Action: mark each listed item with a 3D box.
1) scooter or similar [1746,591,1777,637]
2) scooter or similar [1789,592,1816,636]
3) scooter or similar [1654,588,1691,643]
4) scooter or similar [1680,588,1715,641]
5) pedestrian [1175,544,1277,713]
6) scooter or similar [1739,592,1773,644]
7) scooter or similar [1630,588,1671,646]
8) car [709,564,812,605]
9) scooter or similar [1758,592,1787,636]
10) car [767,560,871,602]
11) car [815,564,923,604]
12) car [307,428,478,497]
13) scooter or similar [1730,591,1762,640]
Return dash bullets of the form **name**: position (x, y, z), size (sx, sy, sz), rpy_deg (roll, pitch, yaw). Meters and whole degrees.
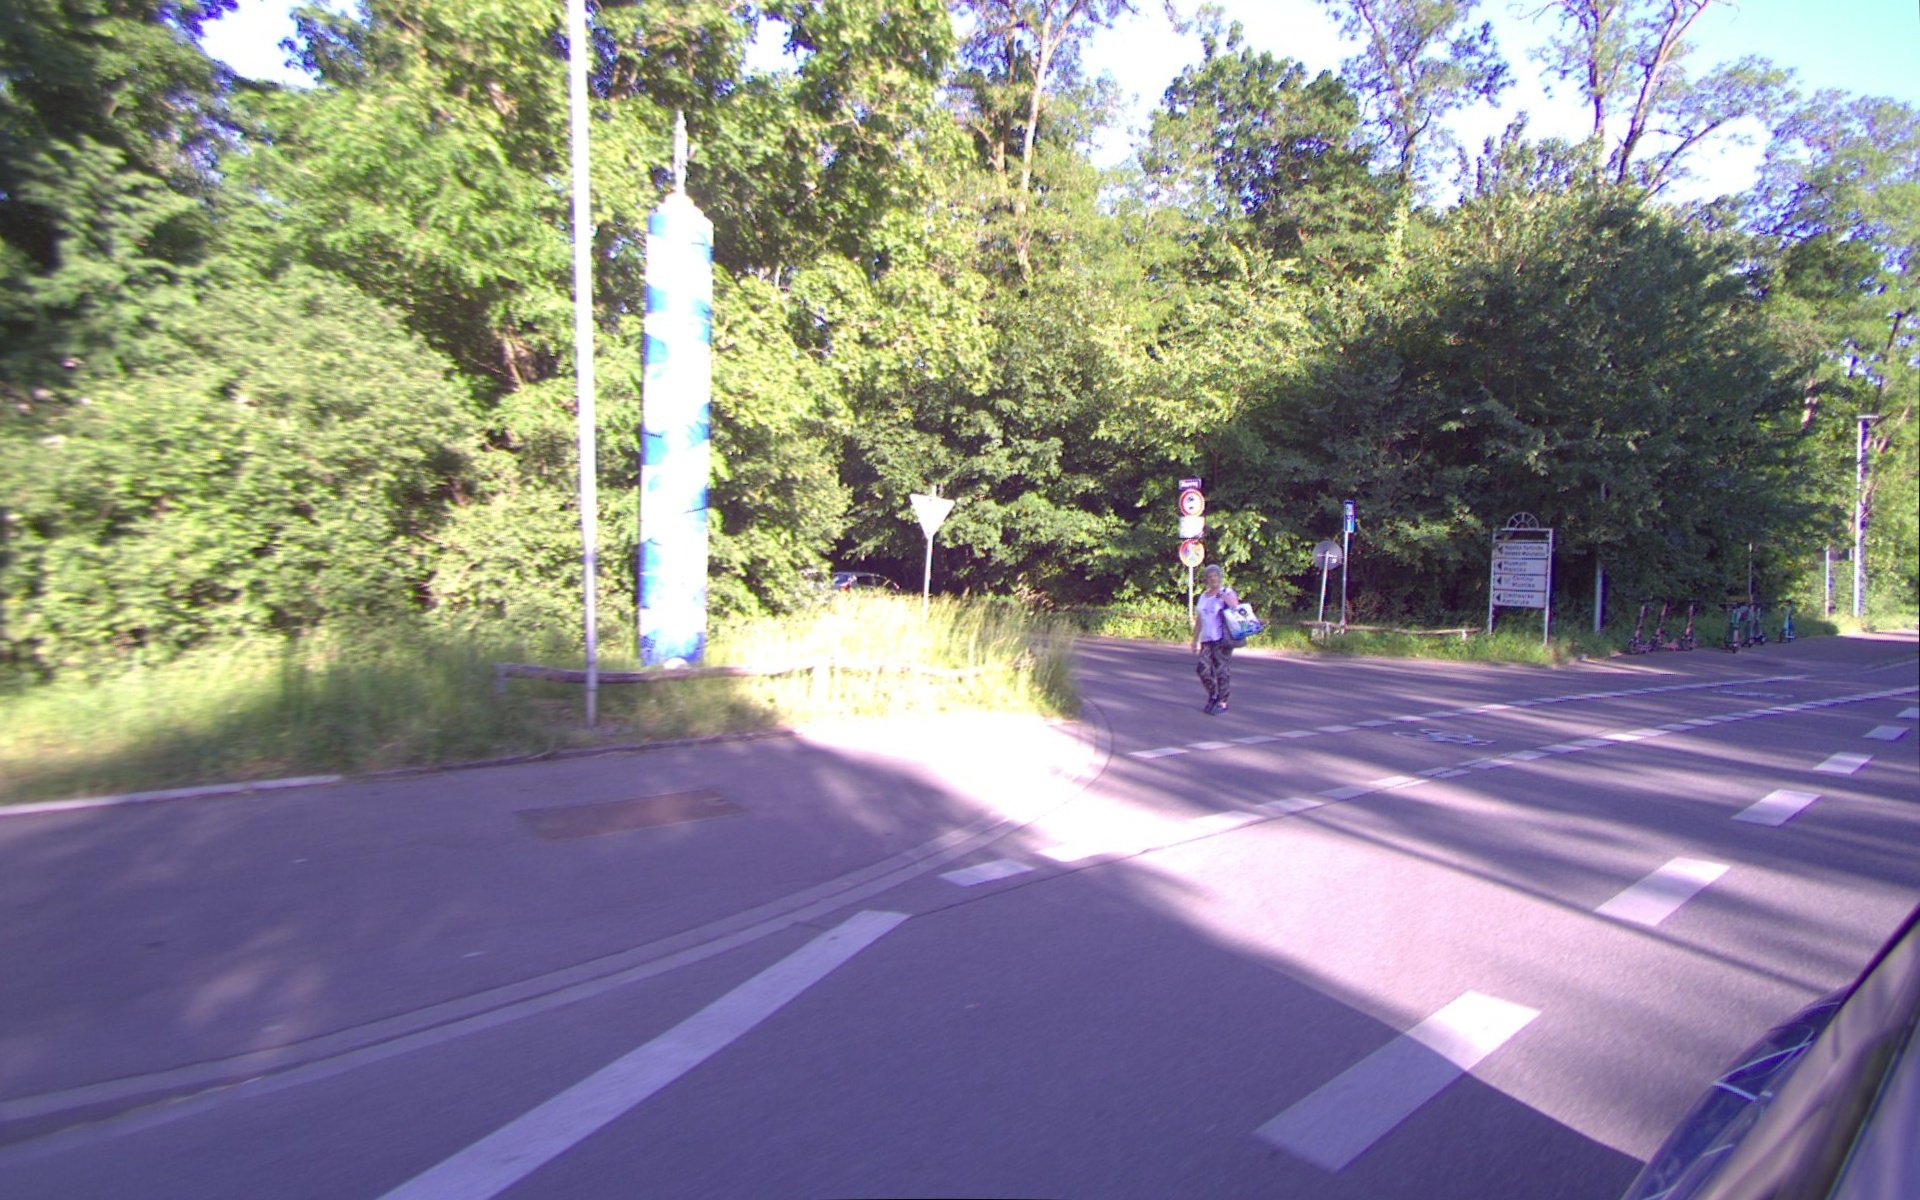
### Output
- **scooter or similar**: position (21.168, 0.358, 26.726), size (1.084, 1.199, 0.386), rpy_deg (0, 2, -40)
- **scooter or similar**: position (24.008, 0.386, 28.832), size (1.084, 1.199, 0.386), rpy_deg (0, 2, -40)
- **scooter or similar**: position (15.987, 0.335, 22.711), size (1.084, 1.199, 0.386), rpy_deg (0, 2, -40)
- **scooter or similar**: position (17.003, 0.319, 23.329), size (1.084, 1.199, 0.386), rpy_deg (0, 2, -40)
- **pedestrian**: position (2.989, 0.289, 11.401), size (0.721, 1.821, 0.808), rpy_deg (0, 2, -41)
- **scooter or similar**: position (18.920, 0.416, 24.057), size (1.084, 1.199, 0.386), rpy_deg (0, 2, -40)
- **scooter or similar**: position (14.736, 0.357, 21.590), size (1.167, 1.199, 0.386), rpy_deg (0, 2, -40)
- **car**: position (-7.859, -0.624, 39.959), size (3.672, 1.548, 1.614), rpy_deg (-1, 2, -40)
- **scooter or similar**: position (22.347, 0.374, 27.828), size (1.084, 1.199, 0.386), rpy_deg (0, 2, -40)
- **car**: position (-5.331, -0.739, 38.480), size (3.672, 1.548, 1.614), rpy_deg (-1, 2, -40)
- **car**: position (-3.291, -0.596, 36.775), size (3.672, 1.394, 1.614), rpy_deg (-1, 2, -40)
- **car**: position (-14.910, -3.566, 26.695), size (3.676, 1.394, 1.612), rpy_deg (-1, 2, -44)
- **scooter or similar**: position (19.766, 0.384, 25.441), size (1.084, 1.199, 0.386), rpy_deg (0, 2, -40)
